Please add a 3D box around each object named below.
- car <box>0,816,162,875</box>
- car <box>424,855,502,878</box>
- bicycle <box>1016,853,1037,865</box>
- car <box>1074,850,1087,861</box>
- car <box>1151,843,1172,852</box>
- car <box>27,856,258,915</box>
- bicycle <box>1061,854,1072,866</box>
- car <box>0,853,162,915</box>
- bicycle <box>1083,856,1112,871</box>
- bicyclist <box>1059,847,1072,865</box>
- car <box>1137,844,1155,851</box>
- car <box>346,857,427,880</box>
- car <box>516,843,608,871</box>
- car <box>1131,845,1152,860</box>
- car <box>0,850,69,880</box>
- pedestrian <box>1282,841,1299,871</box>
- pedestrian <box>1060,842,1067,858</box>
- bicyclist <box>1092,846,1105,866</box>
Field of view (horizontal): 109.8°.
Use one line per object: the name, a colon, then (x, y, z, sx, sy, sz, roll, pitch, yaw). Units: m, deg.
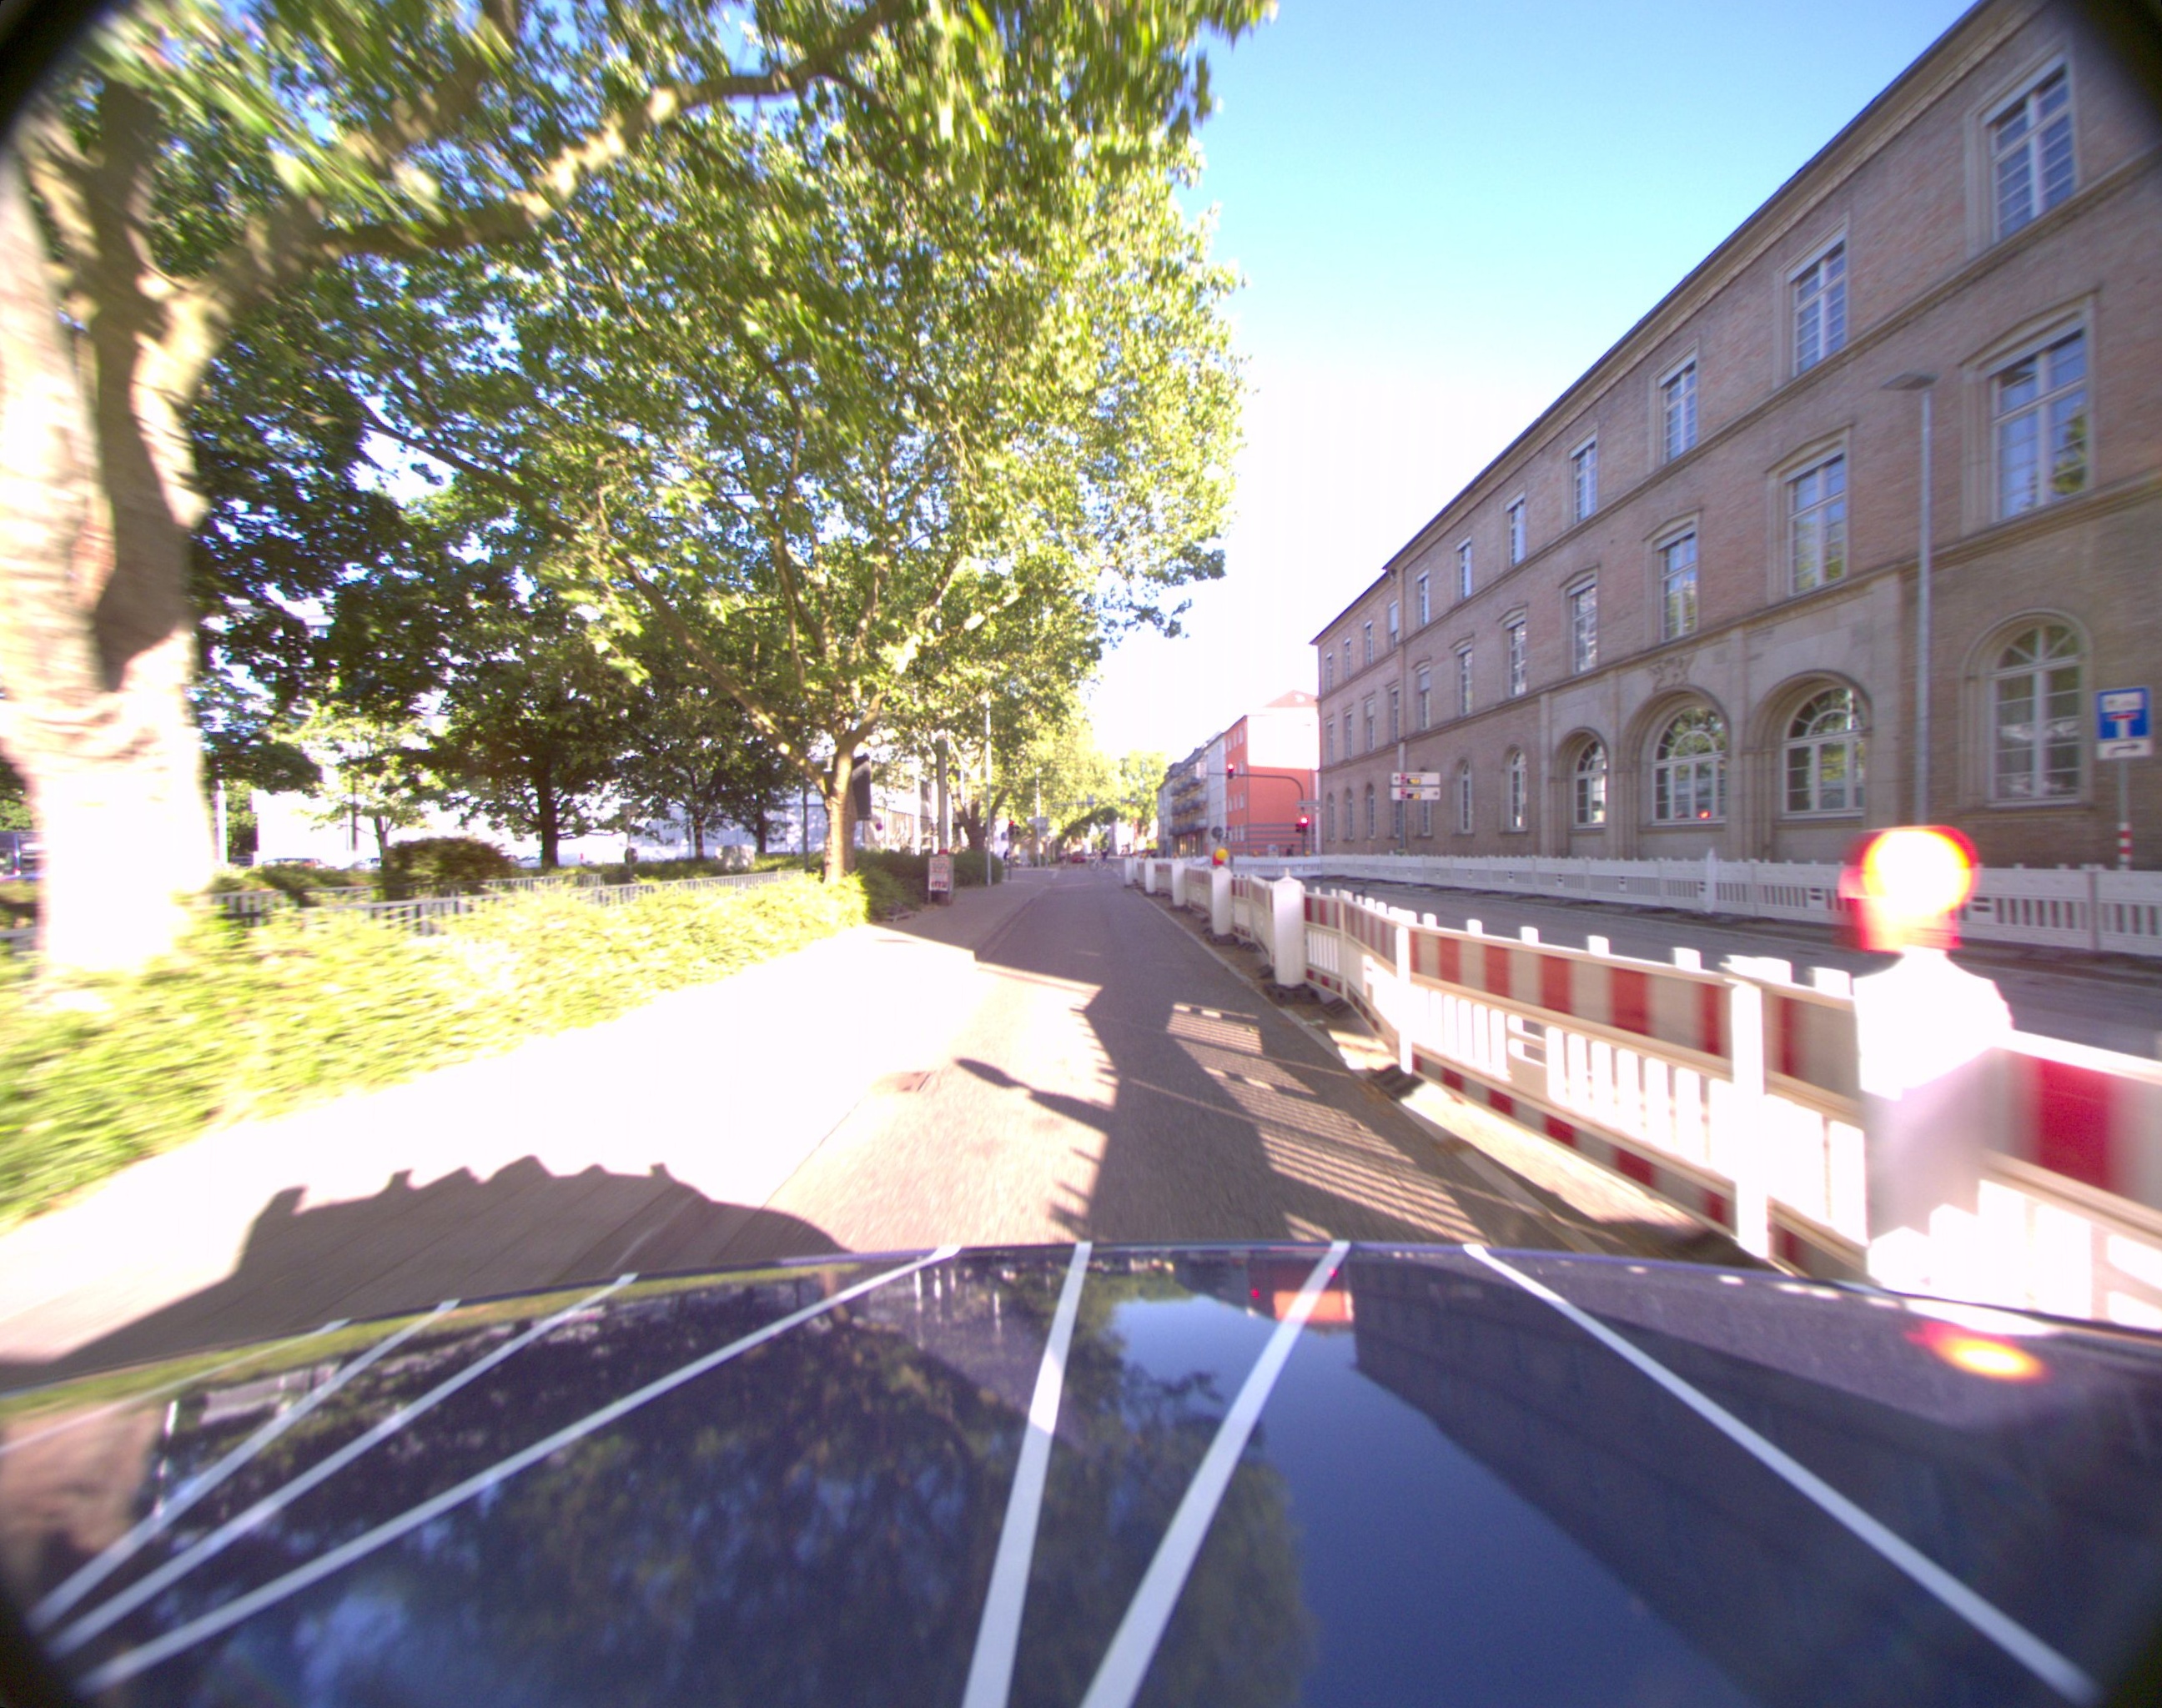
car: (-47.637, -0.369, 35.939, 1.999, 2.558, 5.158, -1, 0, -1)
car: (-41.636, 0.809, 51.214, 3.848, 1.476, 1.630, -1, 1, -2)
bicycle: (-4.685, 0.471, 65.531, 1.638, 0.993, 0.621, 1, 3, -25)
car: (-0.140, 0.181, 108.412, 1.786, 1.520, 4.656, -1, 0, -1)
car: (16.414, -1.303, 155.118, 3.996, 1.689, 1.834, -1, 1, 2)
car: (-28.634, 0.880, 23.451, 1.786, 1.592, 4.311, -1, 0, -1)
bicycle: (-1.286, 0.543, 67.769, 0.703, 1.060, 1.929, -1, -1, 8)
car: (-32.640, 0.890, 24.069, 1.786, 1.801, 4.311, -1, 0, -1)
bicycle: (1.149, 0.670, 53.493, 1.990, 0.993, 0.790, 1, -1, 5)
bicyclist: (-1.385, 0.175, 67.598, 0.949, 1.630, 1.008, -2, 1, 8)
car: (15.458, -1.521, 180.811, 3.996, 1.689, 1.834, -1, 1, 2)
car: (-46.356, 0.960, 50.760, 3.848, 1.476, 1.630, -1, 1, -2)
car: (-35.211, 0.211, 51.607, 4.717, 1.818, 2.109, -1, 1, -2)
car: (8.197, -0.251, 103.458, 1.999, 1.807, 5.121, 0, 2, -5)
car: (-67.554, 0.683, 47.581, 4.913, 1.776, 2.088, 1, 1, -9)
pedestrian: (12.603, 0.104, 45.772, 0.883, 1.761, 0.748, -1, 1, 10)
pedestrian: (-2.137, -0.489, 90.923, 0.671, 1.786, 0.665, -4, 3, -5)
bicyclist: (1.262, 0.164, 53.496, 0.837, 1.364, 0.792, 1, -1, 5)
